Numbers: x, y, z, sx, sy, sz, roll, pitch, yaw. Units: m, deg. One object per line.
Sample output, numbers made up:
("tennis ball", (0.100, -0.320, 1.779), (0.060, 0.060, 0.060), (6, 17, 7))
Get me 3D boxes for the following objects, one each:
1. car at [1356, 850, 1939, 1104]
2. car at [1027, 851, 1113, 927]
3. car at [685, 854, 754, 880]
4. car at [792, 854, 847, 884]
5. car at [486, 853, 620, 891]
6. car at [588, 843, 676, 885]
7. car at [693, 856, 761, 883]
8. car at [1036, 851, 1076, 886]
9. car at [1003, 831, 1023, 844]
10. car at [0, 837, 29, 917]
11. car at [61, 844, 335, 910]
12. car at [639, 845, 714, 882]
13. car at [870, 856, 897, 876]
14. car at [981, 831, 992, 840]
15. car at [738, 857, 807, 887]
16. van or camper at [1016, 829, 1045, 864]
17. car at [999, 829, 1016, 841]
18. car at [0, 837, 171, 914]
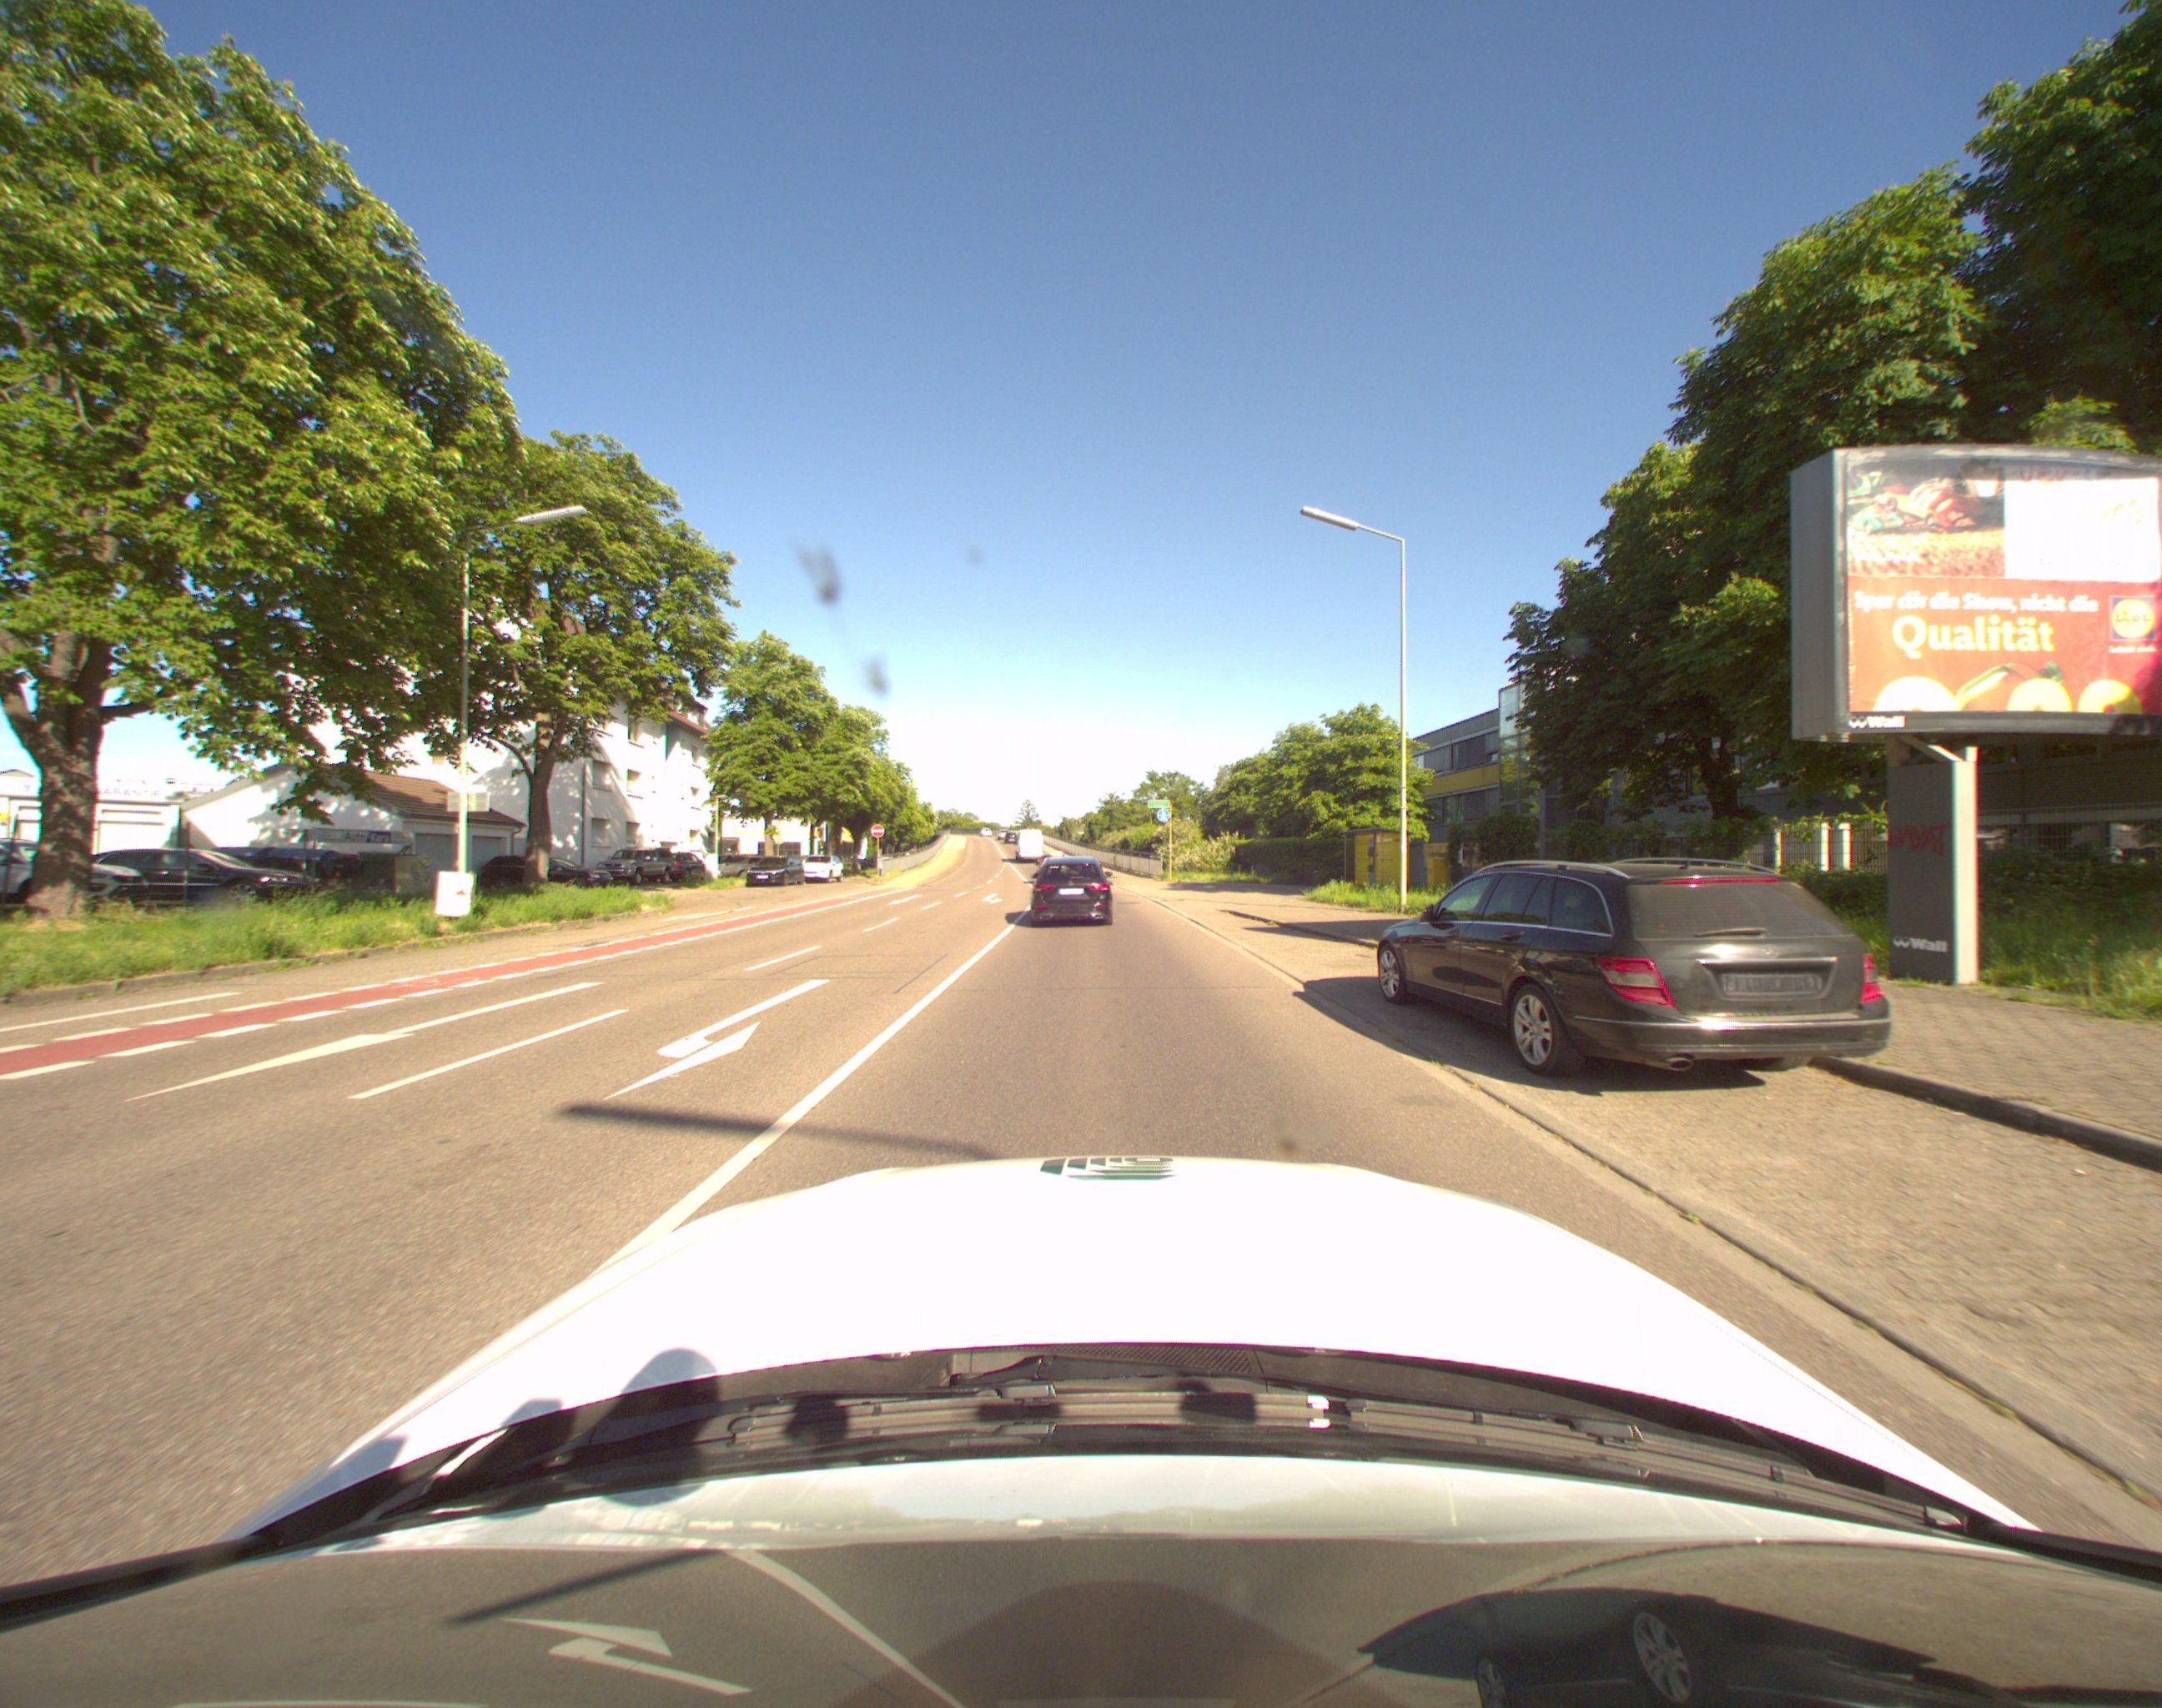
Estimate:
("car", (3.949, 0.690, 6.803), (1.803, 1.419, 4.423), (0, 0, 0))
("car", (-0.329, 0.743, 18.968), (1.766, 1.592, 3.984), (0, 0, -3))
("car", (-22.341, 0.791, 50.385), (3.683, 1.510, 1.766), (0, 0, -33))
("car", (-15.819, 0.878, 49.589), (2.035, 1.729, 5.226), (1, 0, -5))
("car", (-20.907, 0.724, 32.407), (3.987, 1.429, 1.901), (0, -2, -10))
("car", (-21.560, 0.464, 39.373), (1.744, 1.930, 5.095), (0, 0, -4))
("car", (-23.193, 0.982, 53.348), (4.009, 1.597, 1.982), (-1, 1, -27))
("car", (-1.298, 0.717, 40.959), (1.802, 1.640, 3.993), (0, -1, -5))
("car", (-8.917, -2.136, 107.061), (1.909, 1.488, 4.276), (-1, -1, 5))
("car", (-22.831, 0.437, 14.835), (4.001, 1.560, 1.986), (0, 0, -21))
("car", (-22.537, 0.551, 21.056), (4.412, 1.575, 1.801), (0, 0, -23))
("car", (-21.999, 0.506, 44.545), (2.067, 1.930, 4.777), (1, 0, -6))
("car", (-20.476, 1.220, 84.395), (1.919, 1.991, 4.253), (0, 0, -3))
("car", (-17.415, -3.382, 150.107), (1.877, 1.543, 3.986), (0, 0, -10))
("car", (-15.619, 0.873, 41.469), (2.035, 1.464, 4.951), (0, 0, -6))
("van or camper", (-4.181, -0.622, 67.308), (2.222, 2.739, 7.070), (0, 0, -4))
("car", (-11.080, -2.878, 123.260), (1.985, 1.680, 4.004), (-1, -1, 4))
("car", (-23.134, 0.437, 17.740), (3.992, 1.610, 1.913), (0, 0, -14))
